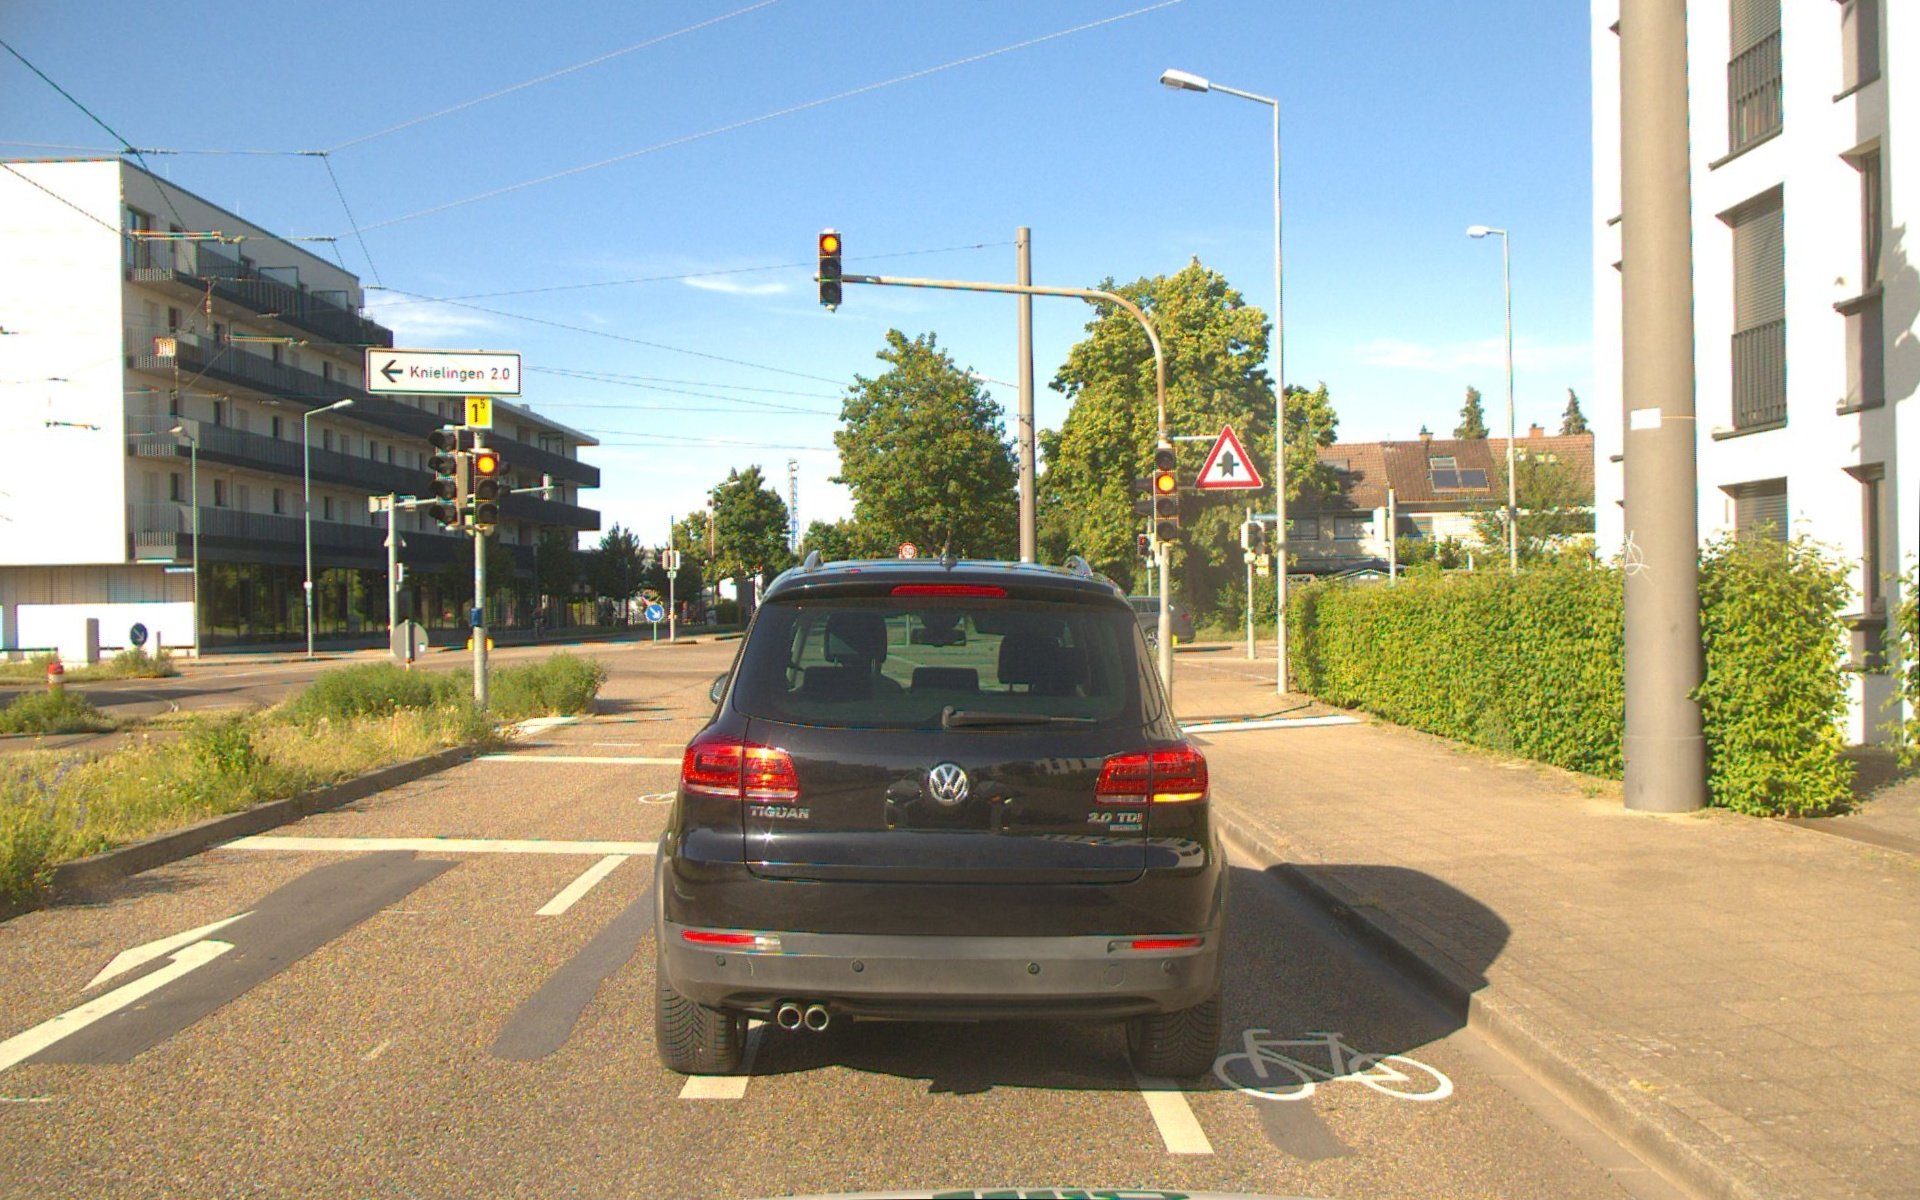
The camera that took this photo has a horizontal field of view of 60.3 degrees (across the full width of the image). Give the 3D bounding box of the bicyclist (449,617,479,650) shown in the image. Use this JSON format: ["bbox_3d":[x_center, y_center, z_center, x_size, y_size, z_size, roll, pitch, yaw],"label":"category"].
[{"bbox_3d":[-19.137,1.288,63.825,0.823,1.257,0.743,0,0,23],"label":"bicyclist"}]

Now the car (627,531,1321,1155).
[{"bbox_3d":[-0.023,0.650,6.473,1.867,1.671,3.998,0,0,-2],"label":"car"}]

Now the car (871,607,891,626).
[{"bbox_3d":[-7.196,1.508,151.021,1.621,1.668,4.001,0,0,1],"label":"car"}]

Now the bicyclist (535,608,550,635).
[{"bbox_3d":[-19.226,1.001,76.216,0.464,1.245,0.713,0,0,3],"label":"bicyclist"}]

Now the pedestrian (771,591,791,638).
[{"bbox_3d":[-6.461,0.530,59.708,0.590,1.668,0.529,0,0,4],"label":"pedestrian"}]

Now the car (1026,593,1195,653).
[{"bbox_3d":[4.002,0.585,44.311,4.403,1.530,2.001,0,0,3],"label":"car"}]

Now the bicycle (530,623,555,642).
[{"bbox_3d":[-19.237,1.491,76.204,0.485,0.863,2.079,0,0,3],"label":"bicycle"}]

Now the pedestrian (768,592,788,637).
[{"bbox_3d":[-6.498,0.530,59.083,0.590,1.592,0.529,0,0,4],"label":"pedestrian"}]

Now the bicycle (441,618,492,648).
[{"bbox_3d":[-19.057,1.273,63.928,0.947,1.104,1.834,0,0,23],"label":"bicycle"}]
